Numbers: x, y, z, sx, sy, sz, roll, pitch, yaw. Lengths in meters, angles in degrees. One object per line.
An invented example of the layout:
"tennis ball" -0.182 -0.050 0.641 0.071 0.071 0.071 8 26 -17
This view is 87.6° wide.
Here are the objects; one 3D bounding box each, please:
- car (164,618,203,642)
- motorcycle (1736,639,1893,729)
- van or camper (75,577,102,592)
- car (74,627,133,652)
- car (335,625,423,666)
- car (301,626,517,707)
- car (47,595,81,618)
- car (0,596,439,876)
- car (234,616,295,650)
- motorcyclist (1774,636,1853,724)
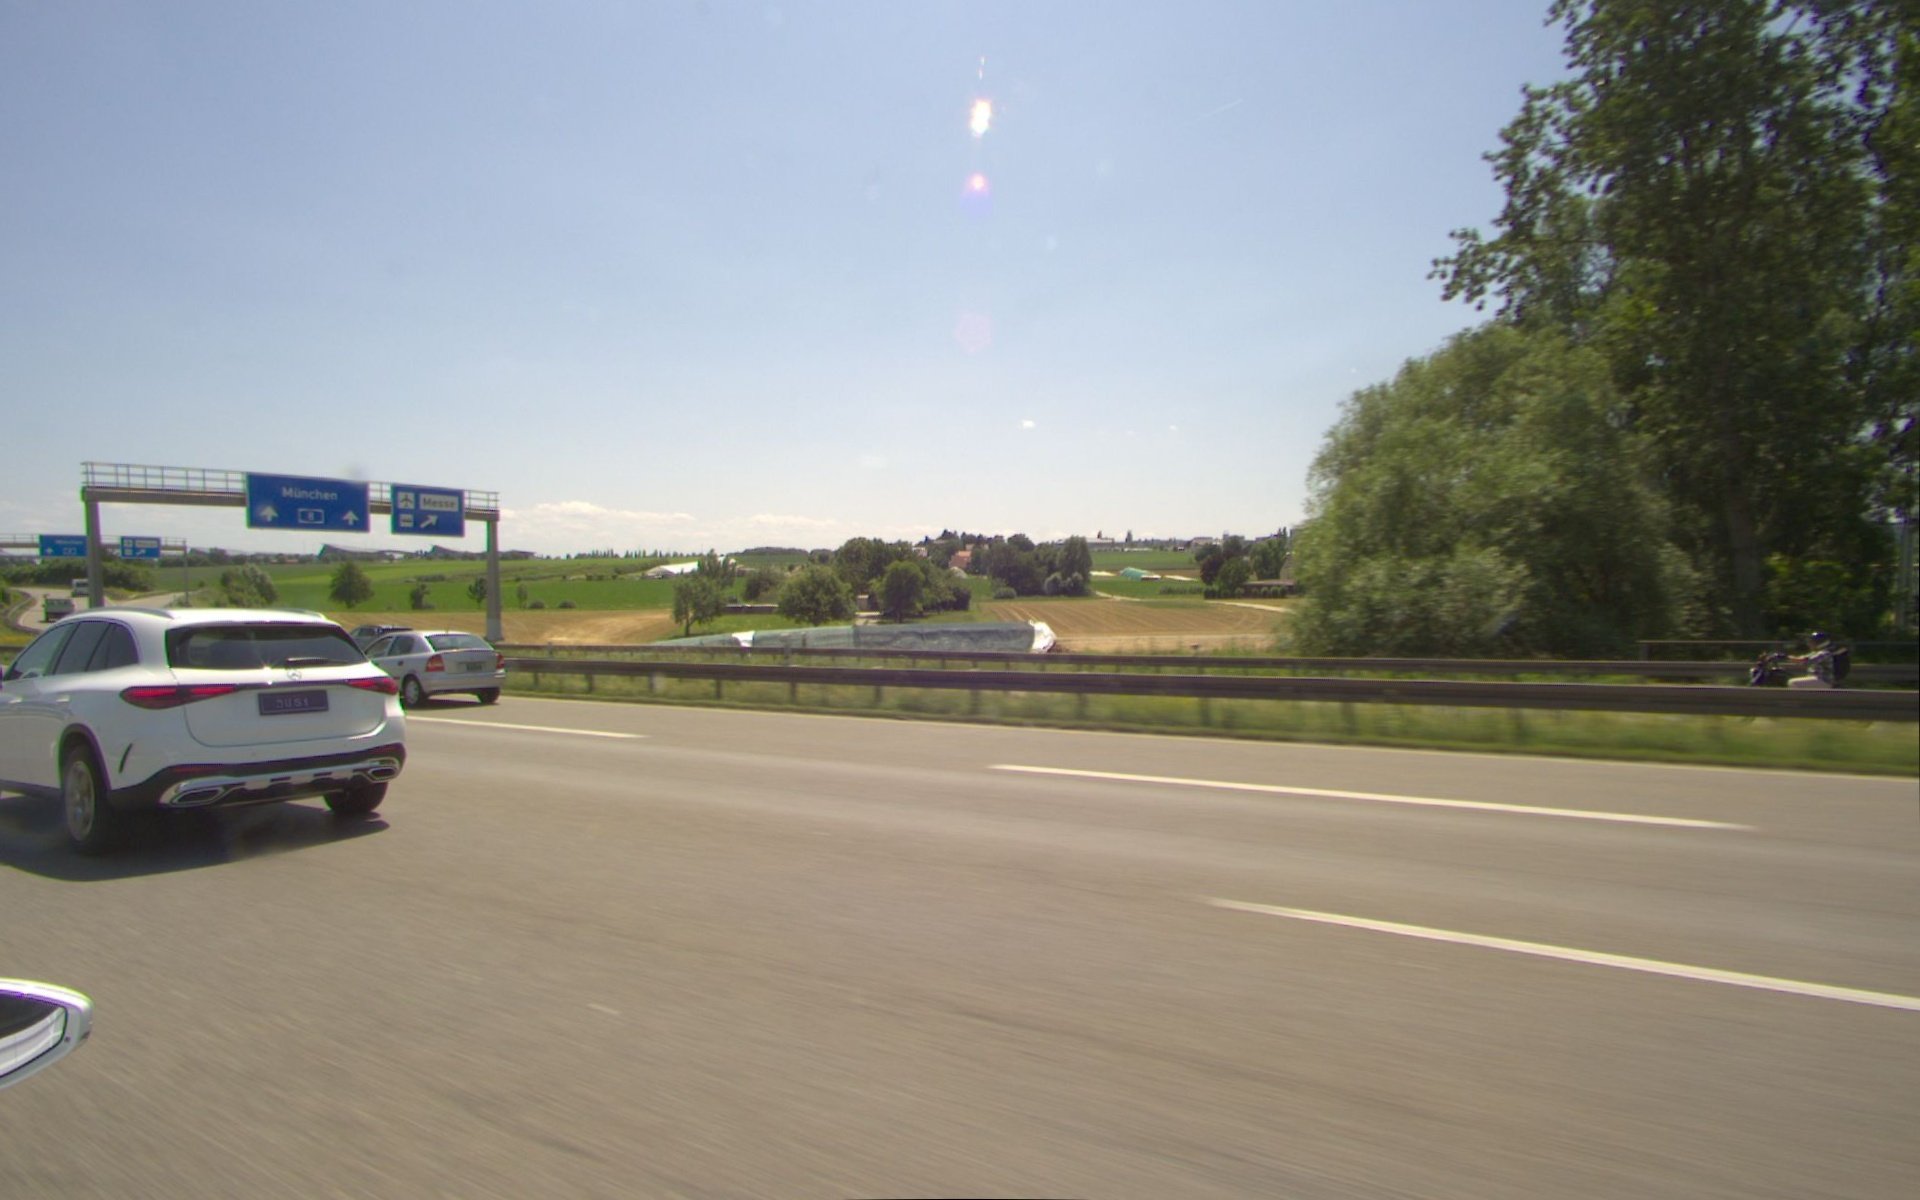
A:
"car" -63.935 2.473 82.445 4.134 1.948 1.929 -2 -1 43
"motorcycle" 13.904 1.336 16.366 1.843 1.384 0.758 -1 -1 32
"van or camper" -132.523 -2.373 152.210 4.410 2.039 2.517 -2 -1 41
"car" -57.237 2.609 66.929 3.944 1.616 1.989 -1 -1 33
"car" -23.983 1.847 41.283 4.076 1.595 1.694 -2 -1 37
"car" -11.164 1.276 20.183 4.779 1.456 1.782 -1 -1 33
"car" -83.644 0.624 93.468 3.955 2.039 1.984 -2 -1 42
"car" -6.540 0.879 8.072 4.926 1.668 1.895 -1 -1 31
"car" -41.442 1.964 59.647 4.128 1.948 1.931 -2 -1 39
"motorcyclist" 13.923 1.280 16.366 0.866 1.384 0.667 -1 -1 32
